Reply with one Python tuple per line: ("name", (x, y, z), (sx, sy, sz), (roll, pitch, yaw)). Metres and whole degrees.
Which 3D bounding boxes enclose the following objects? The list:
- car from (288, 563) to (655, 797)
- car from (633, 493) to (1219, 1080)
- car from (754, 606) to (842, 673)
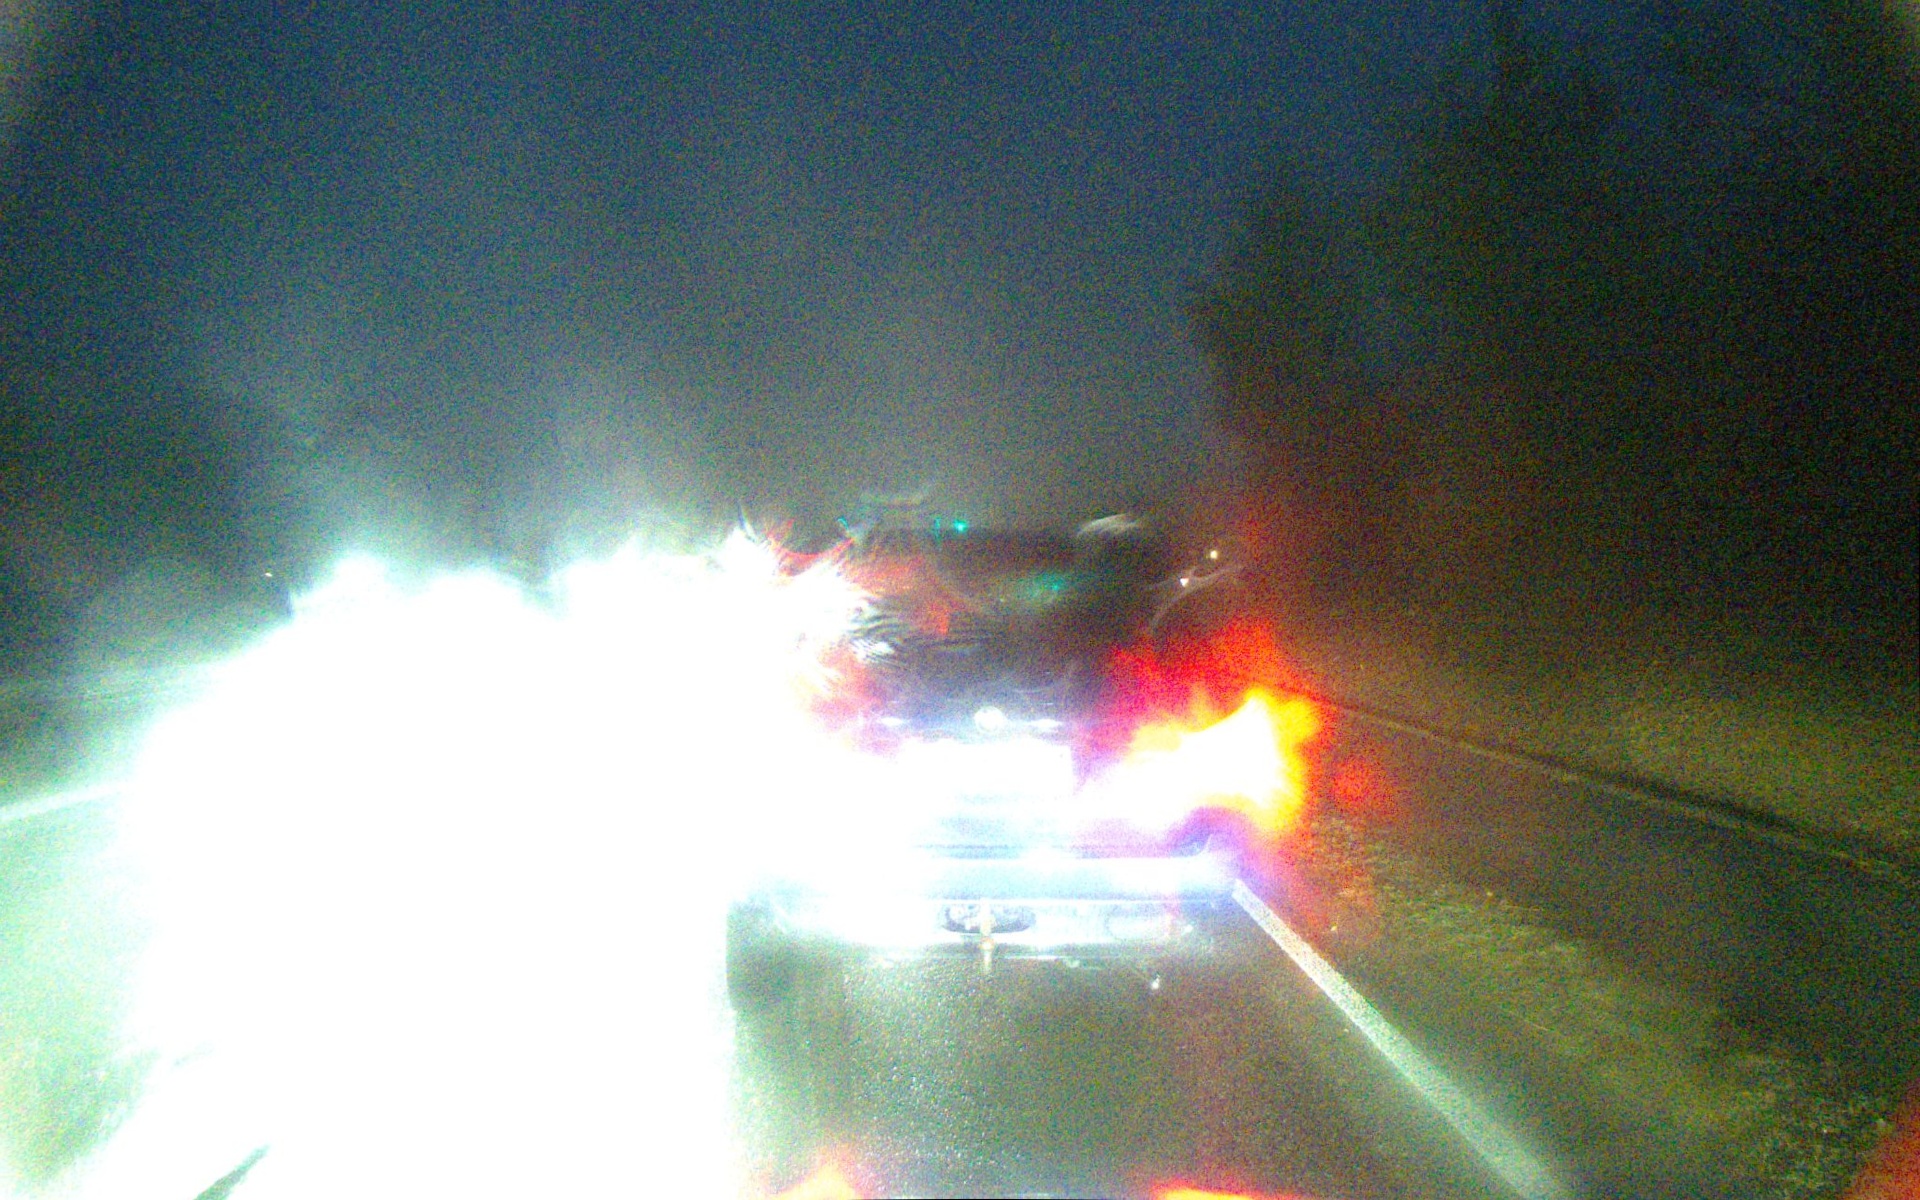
("car", (-3.732, 0.527, 13.443), (1.800, 1.573, 4.256), (1, 1, -2))
("car", (-0.110, 0.568, 6.962), (1.739, 1.742, 3.999), (1, 0, 0))
("car", (-4.060, 0.962, 42.031), (1.865, 1.495, 4.273), (2, 0, -2))
